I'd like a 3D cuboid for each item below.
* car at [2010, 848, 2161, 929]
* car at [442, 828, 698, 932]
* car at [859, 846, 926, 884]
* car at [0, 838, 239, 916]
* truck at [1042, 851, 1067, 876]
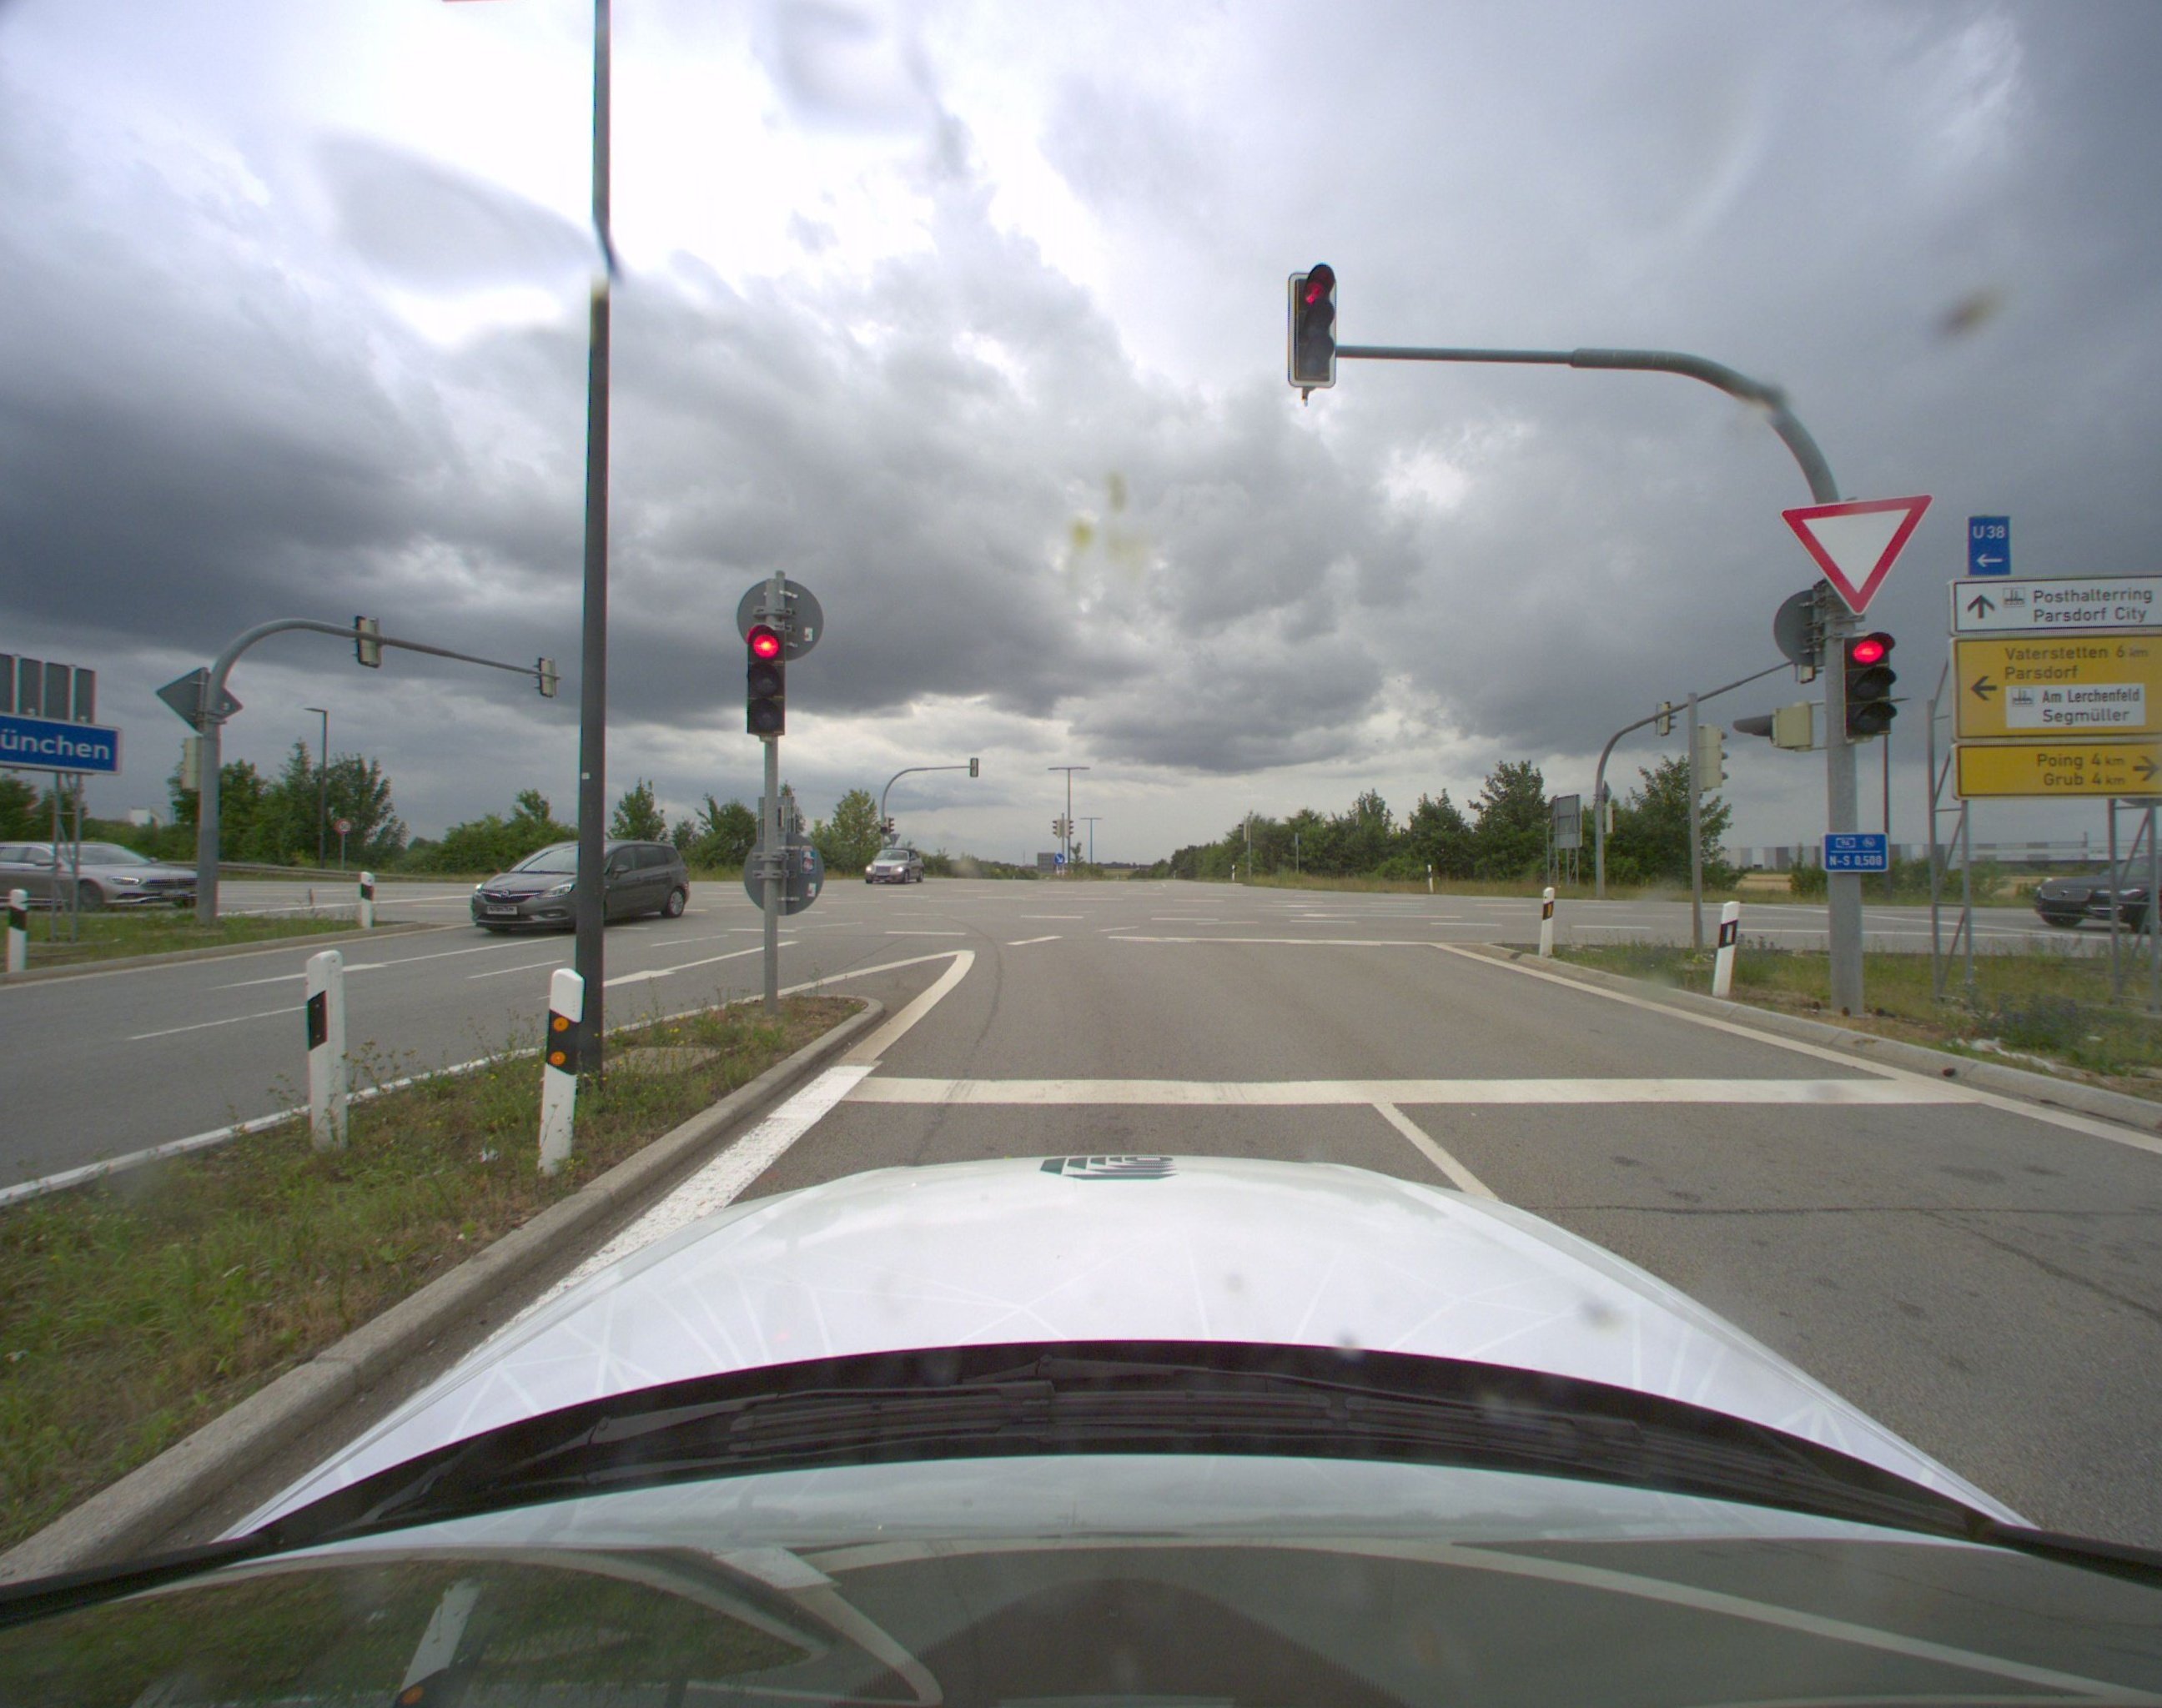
[{"bbox_3d":[24.106,0.734,17.750,4.951,1.684,2.006,0,0,10],"label":"car"},{"bbox_3d":[-9.432,0.439,15.588,1.986,1.694,4.457,0,-1,2],"label":"car"},{"bbox_3d":[-8.058,0.430,35.175,1.803,1.520,4.244,0,1,2],"label":"car"},{"bbox_3d":[-22.351,0.465,18.390,4.909,1.610,1.924,0,1,5],"label":"car"},{"bbox_3d":[-3.709,1.485,116.221,2.858,3.408,8.653,0,-2,2],"label":"truck"}]
